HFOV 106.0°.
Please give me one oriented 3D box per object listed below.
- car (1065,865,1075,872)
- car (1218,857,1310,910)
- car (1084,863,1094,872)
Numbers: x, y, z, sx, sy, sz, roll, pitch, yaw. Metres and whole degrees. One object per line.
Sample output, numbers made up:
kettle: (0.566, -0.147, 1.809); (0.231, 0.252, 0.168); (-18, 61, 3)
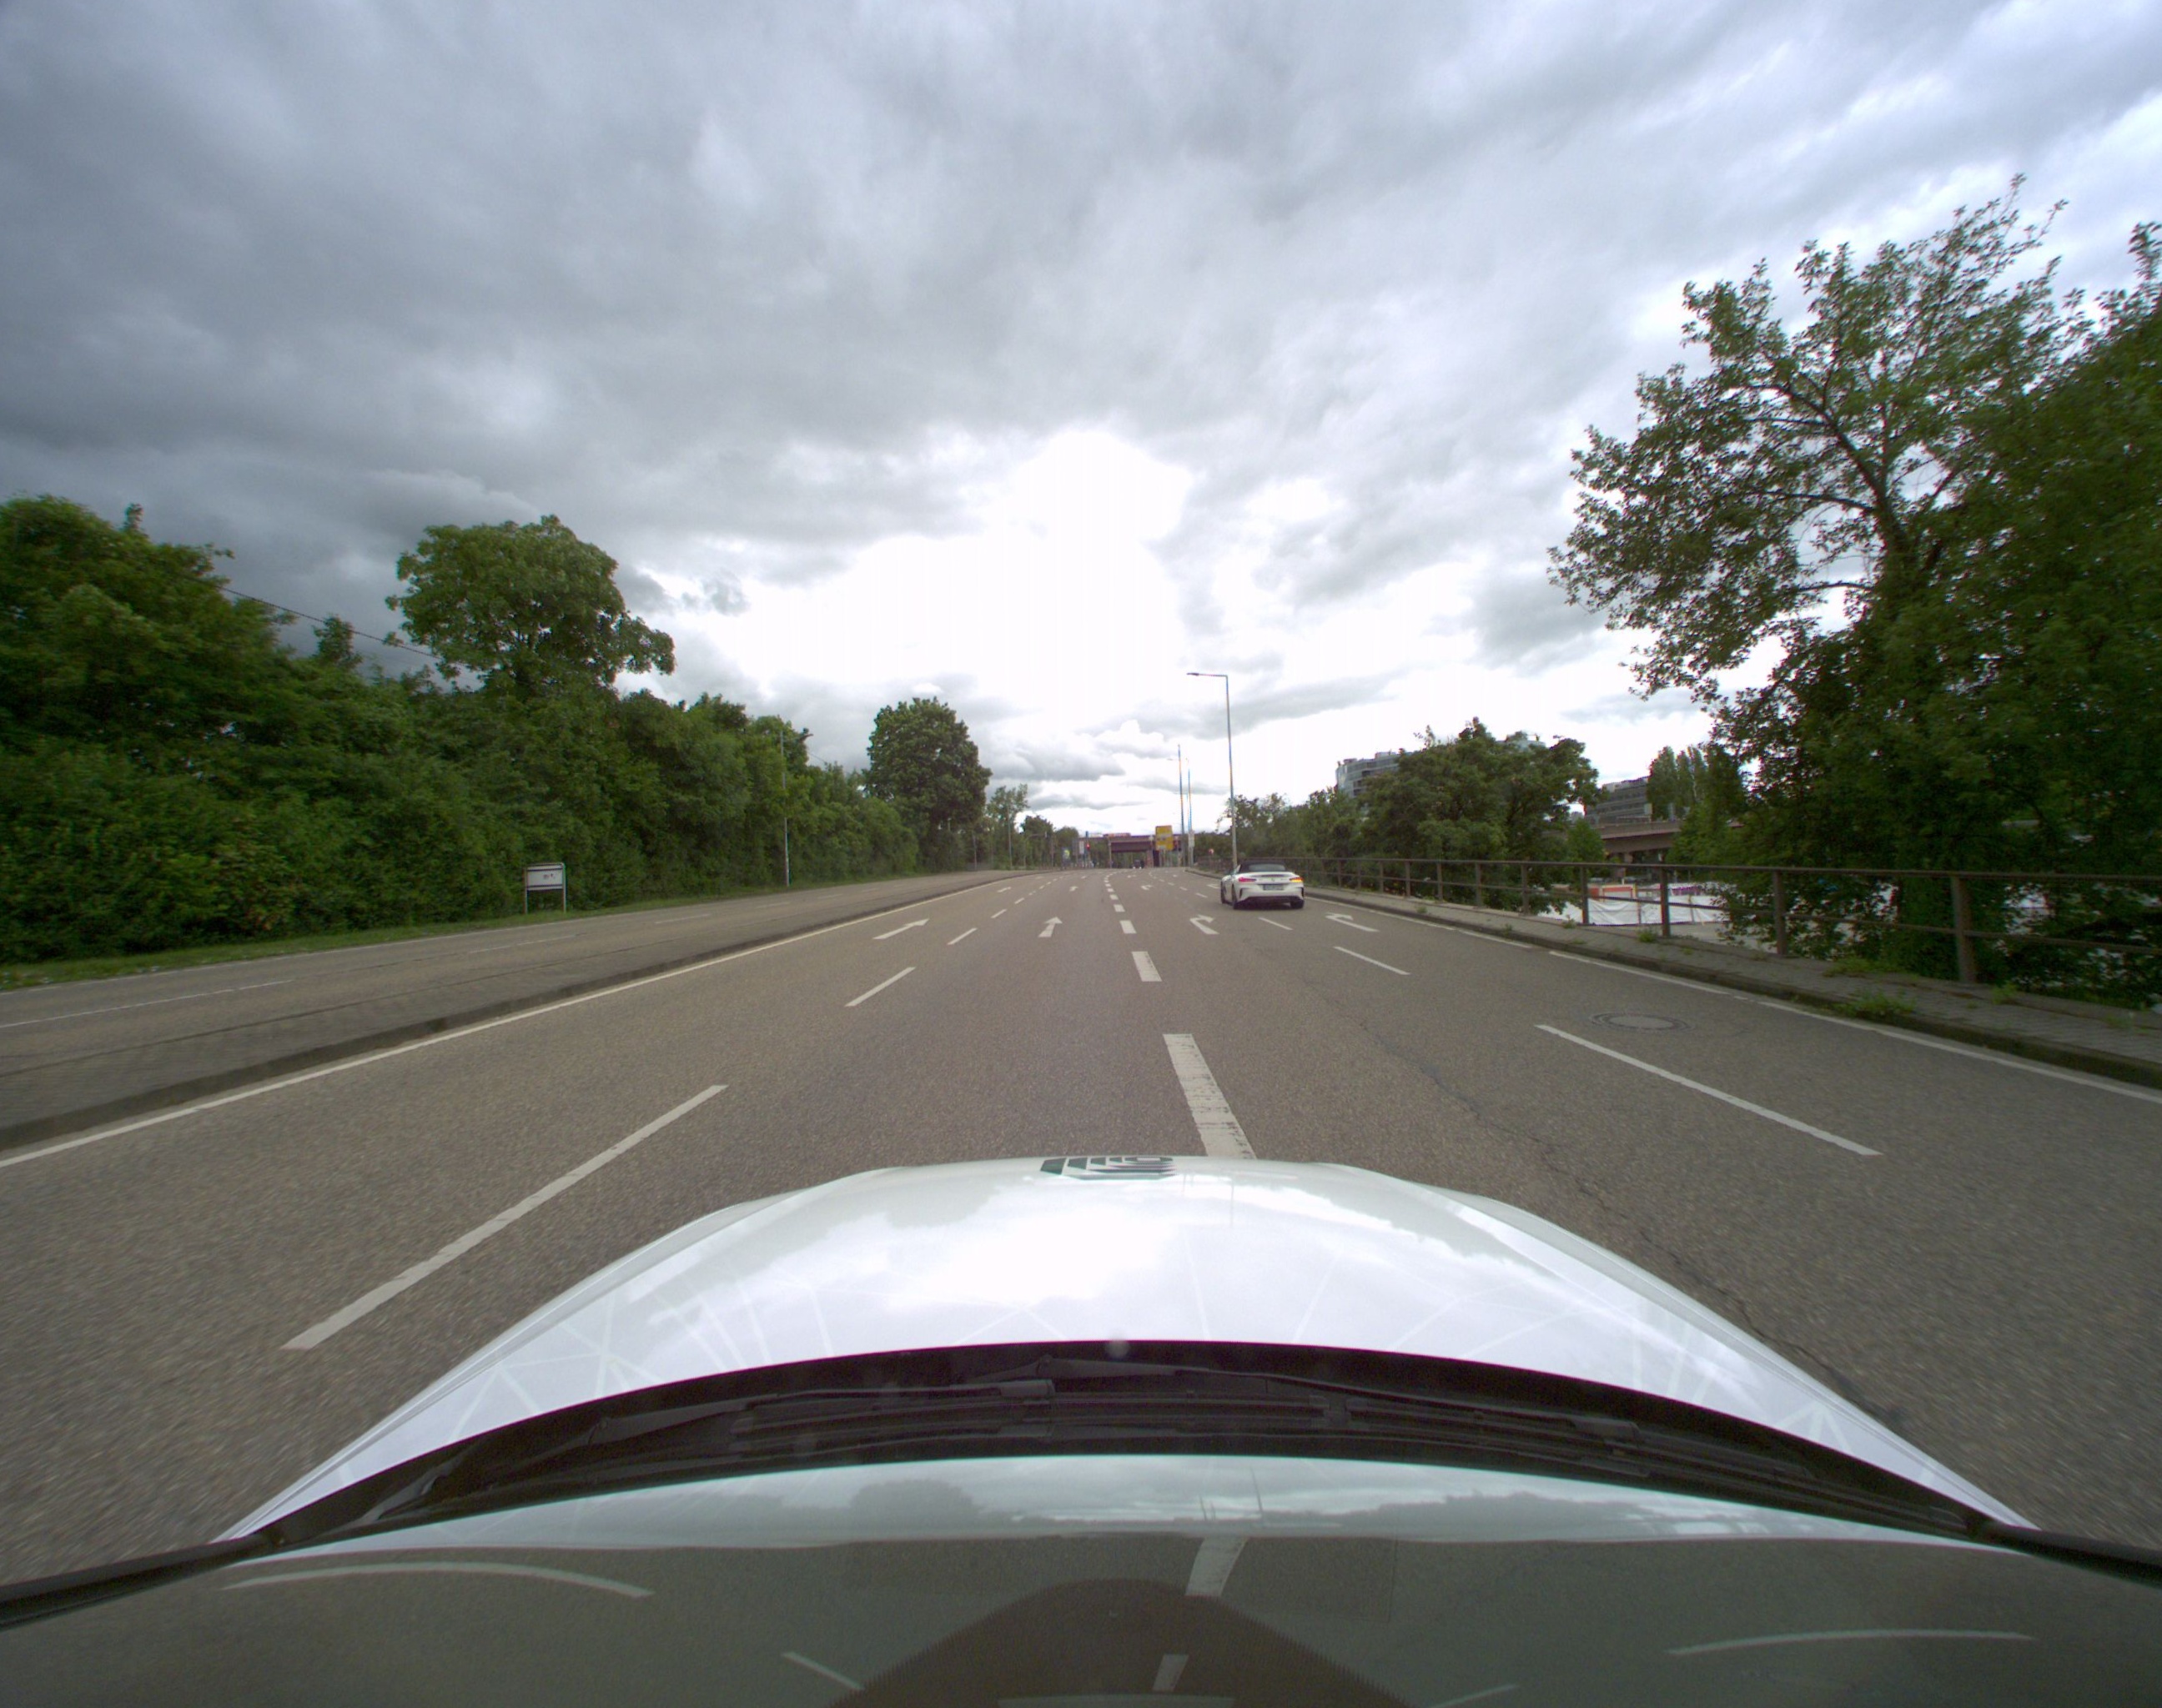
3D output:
car: (-2.127, 2.890, 161.773); (1.752, 1.485, 3.488); (0, -1, 5)
car: (5.012, 0.771, 22.819); (1.867, 1.309, 3.876); (1, 0, 3)
car: (1.533, 2.627, 154.330); (1.763, 1.633, 3.829); (0, -1, 4)
